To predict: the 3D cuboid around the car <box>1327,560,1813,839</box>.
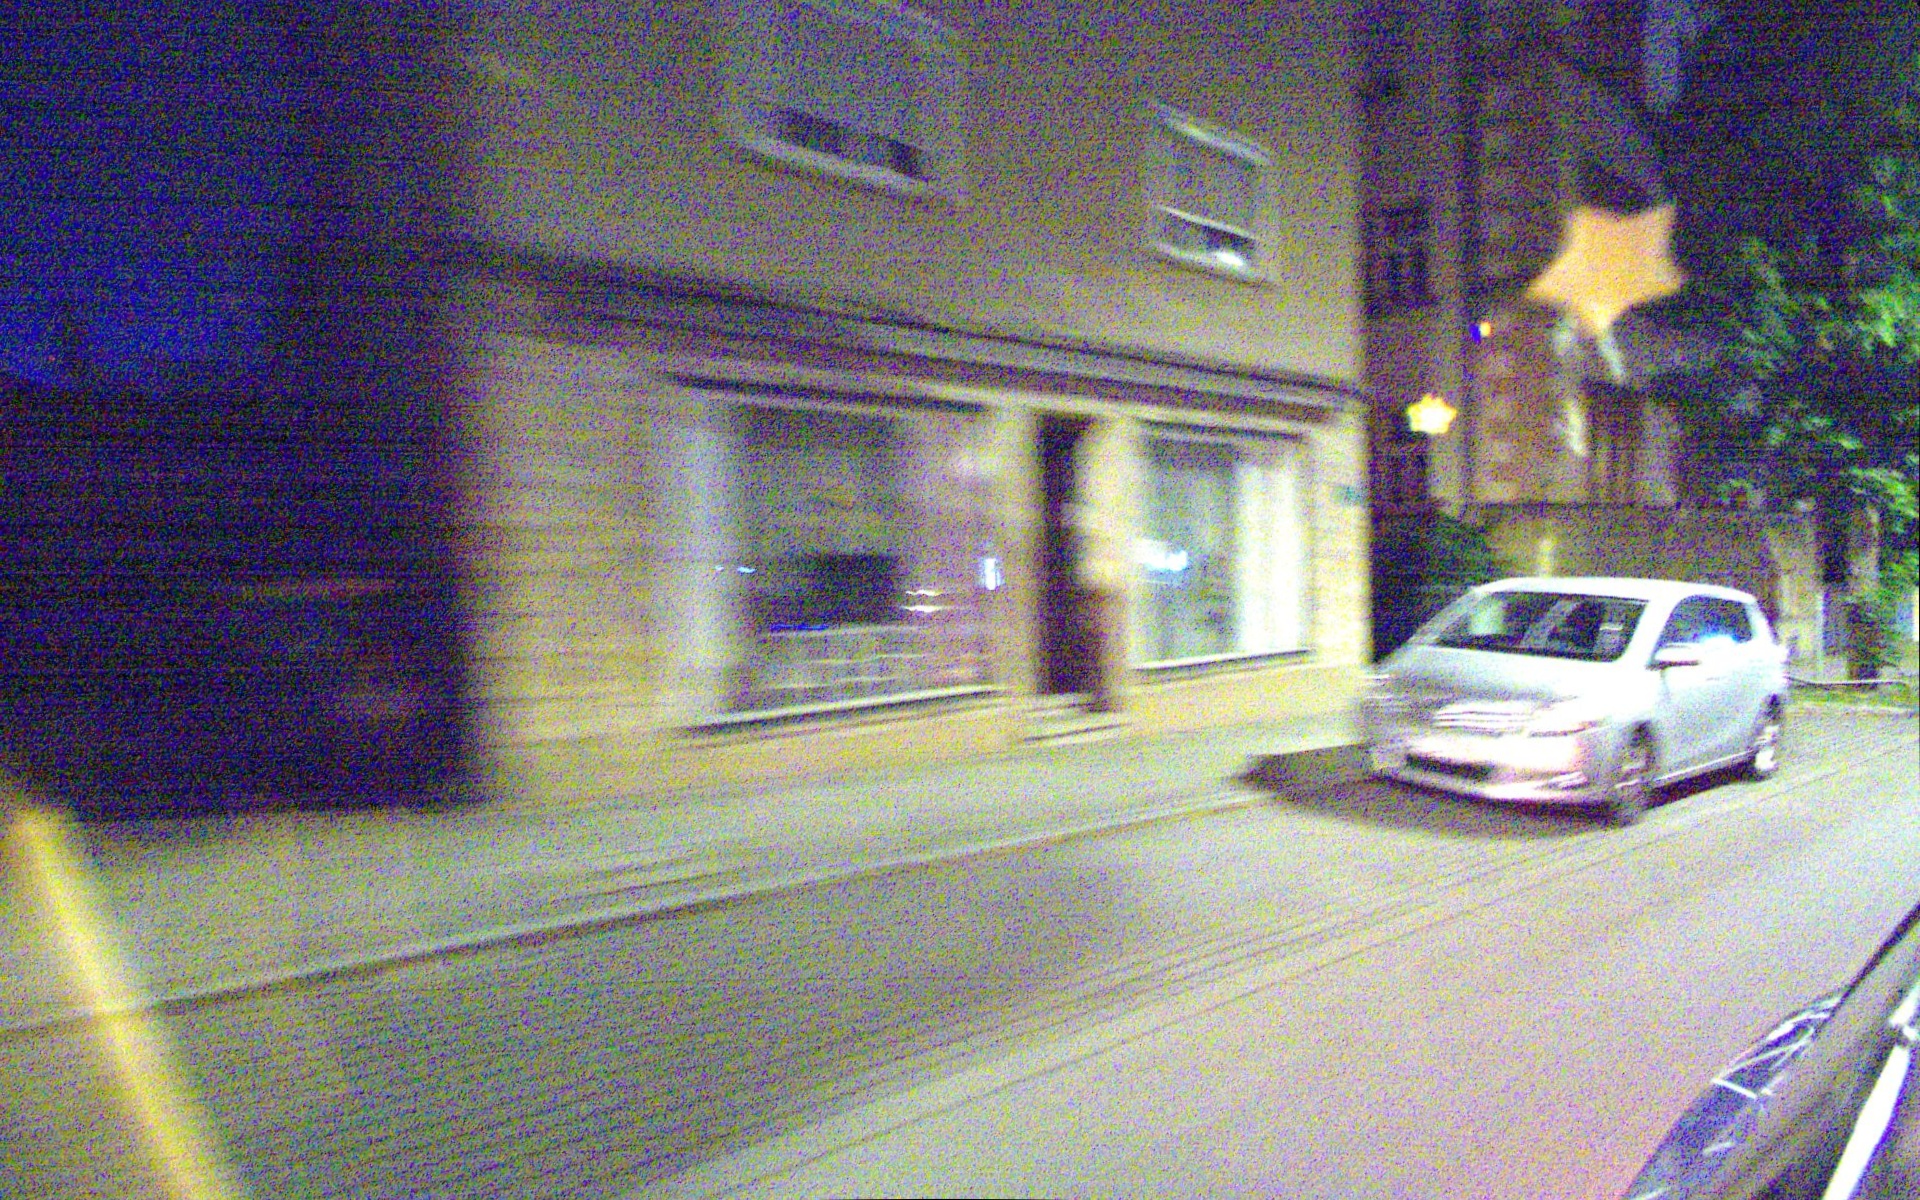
[{"bbox_3d":[4.910,0.553,7.918,4.277,1.616,1.743,0,2,-37],"label":"car"}]
